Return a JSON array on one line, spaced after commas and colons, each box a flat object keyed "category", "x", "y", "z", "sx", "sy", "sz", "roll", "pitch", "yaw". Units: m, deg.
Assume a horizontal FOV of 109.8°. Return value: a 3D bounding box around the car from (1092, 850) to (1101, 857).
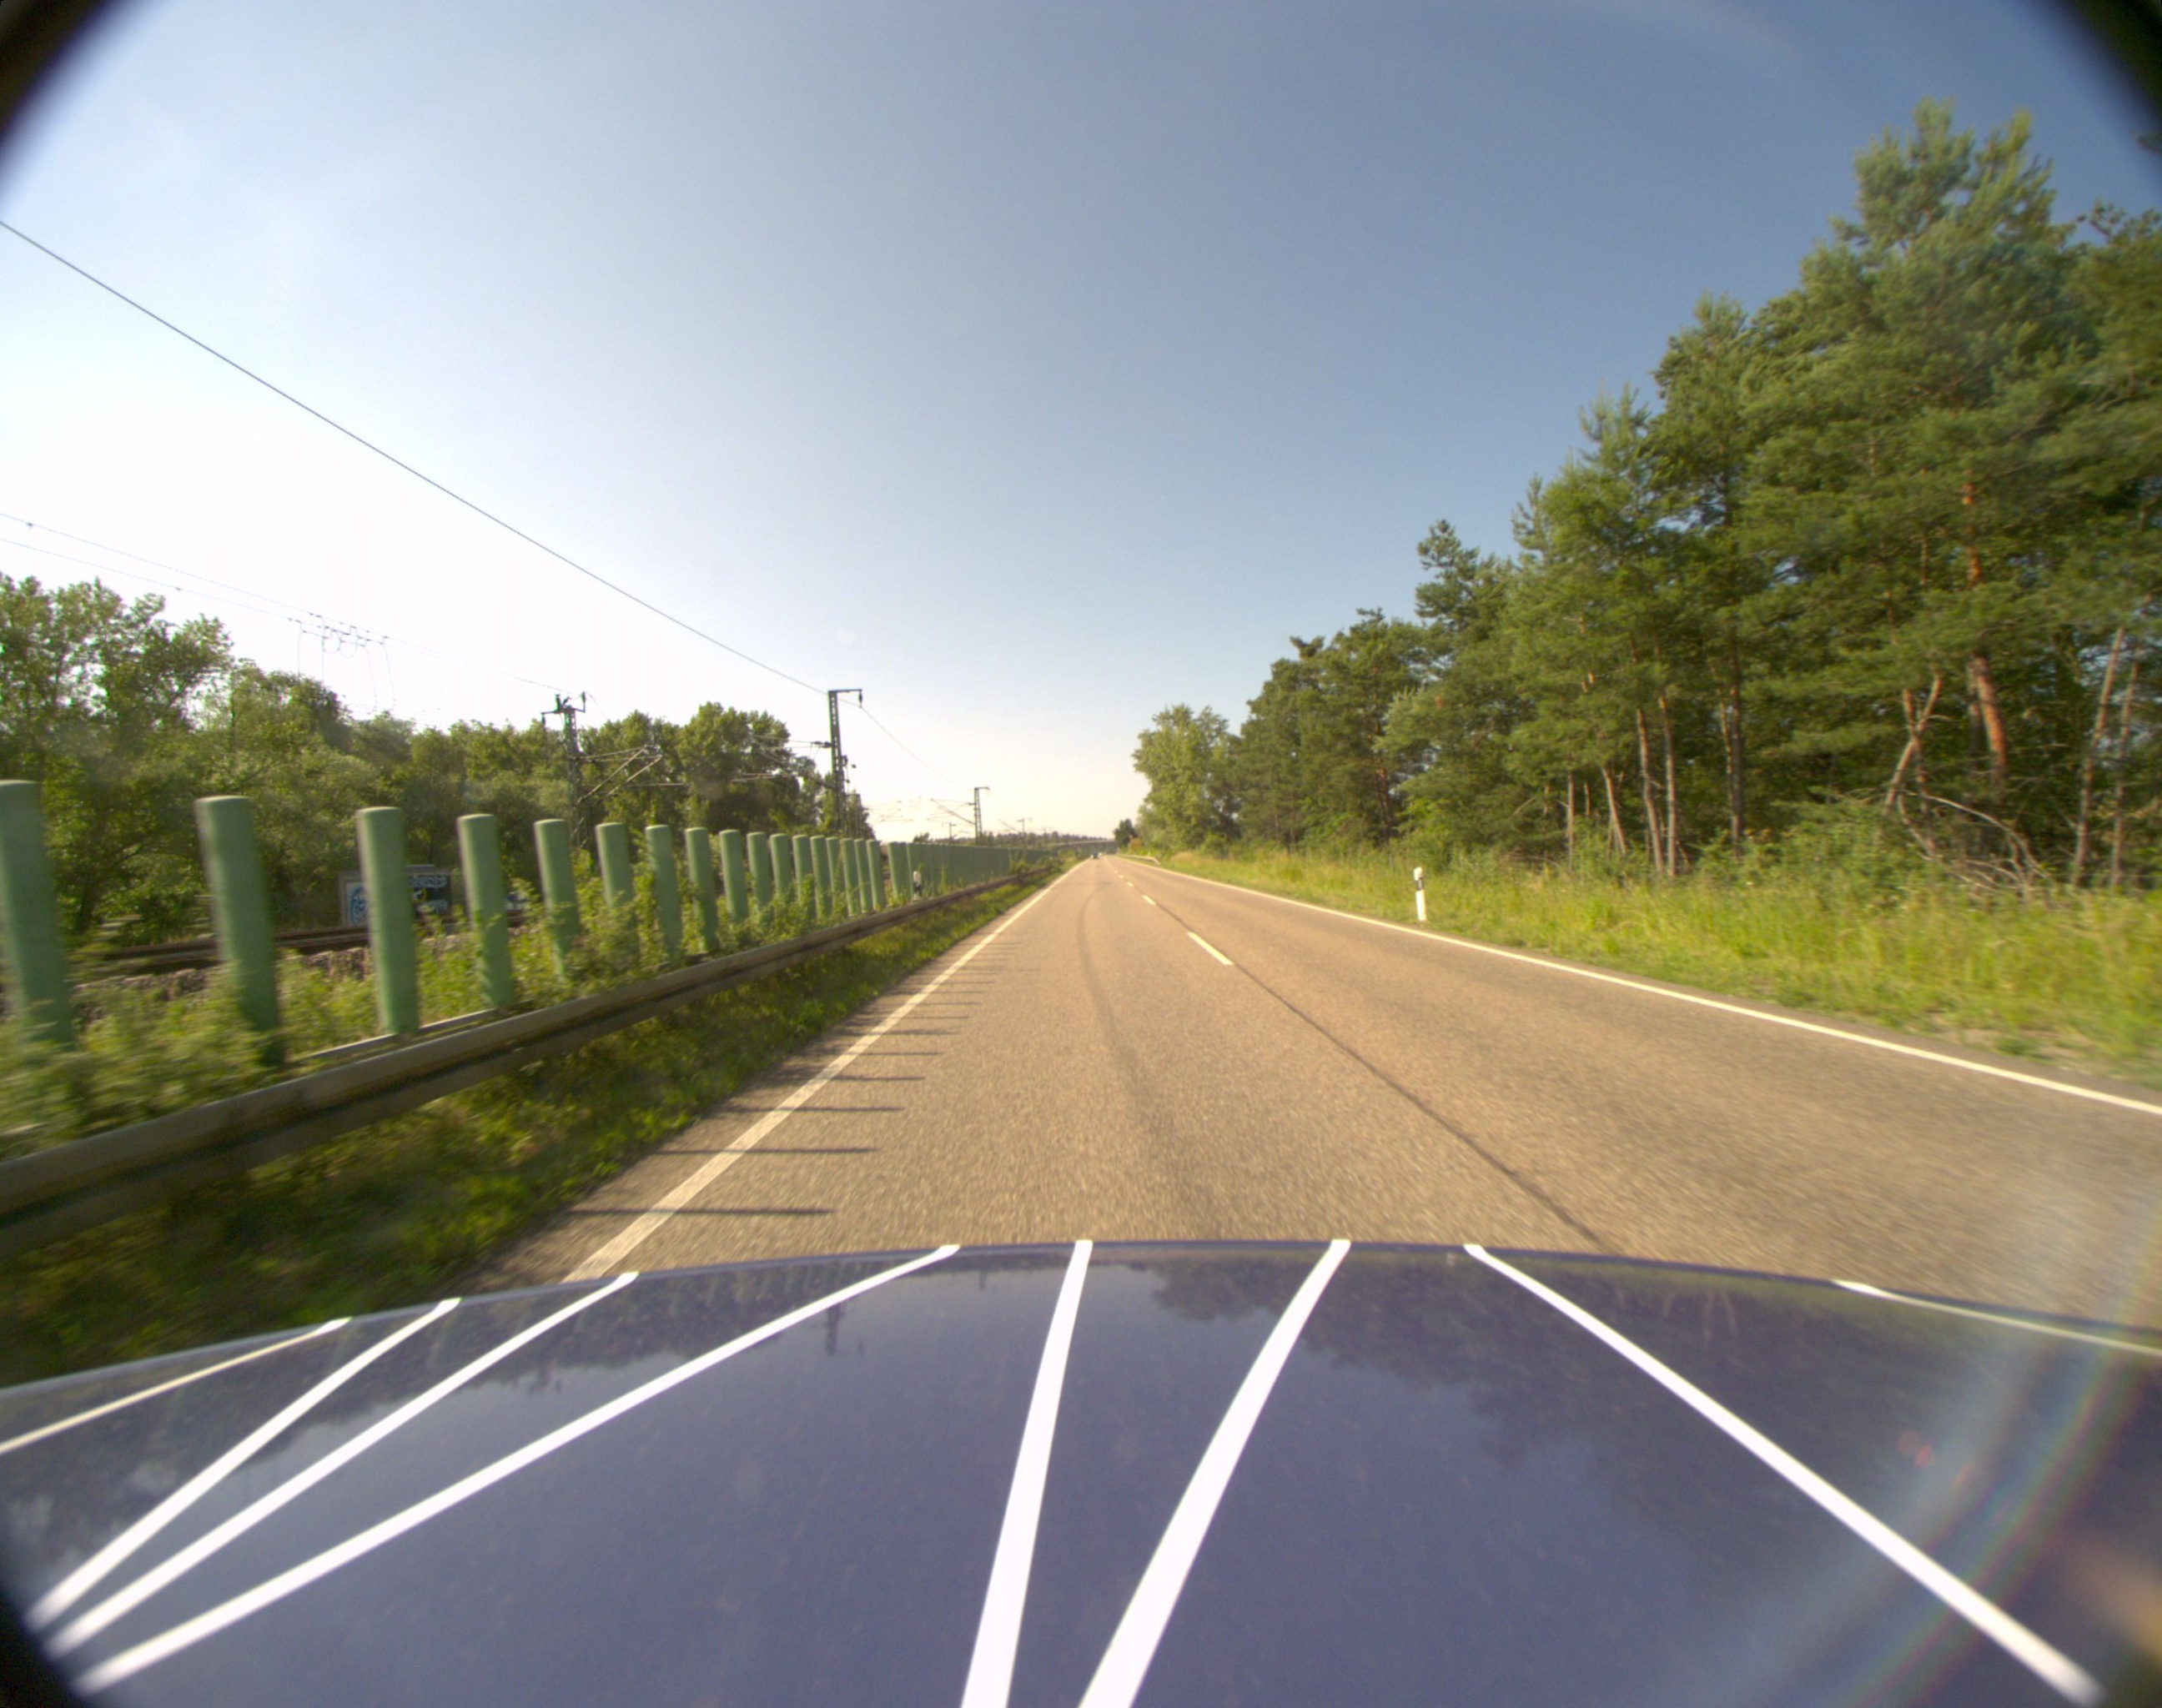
[{"category": "car", "x": 3.629, "y": -0.199, "z": 172.306, "sx": 1.868, "sy": 1.533, "sz": 4.076, "roll": -1, "pitch": 1, "yaw": 3}]
